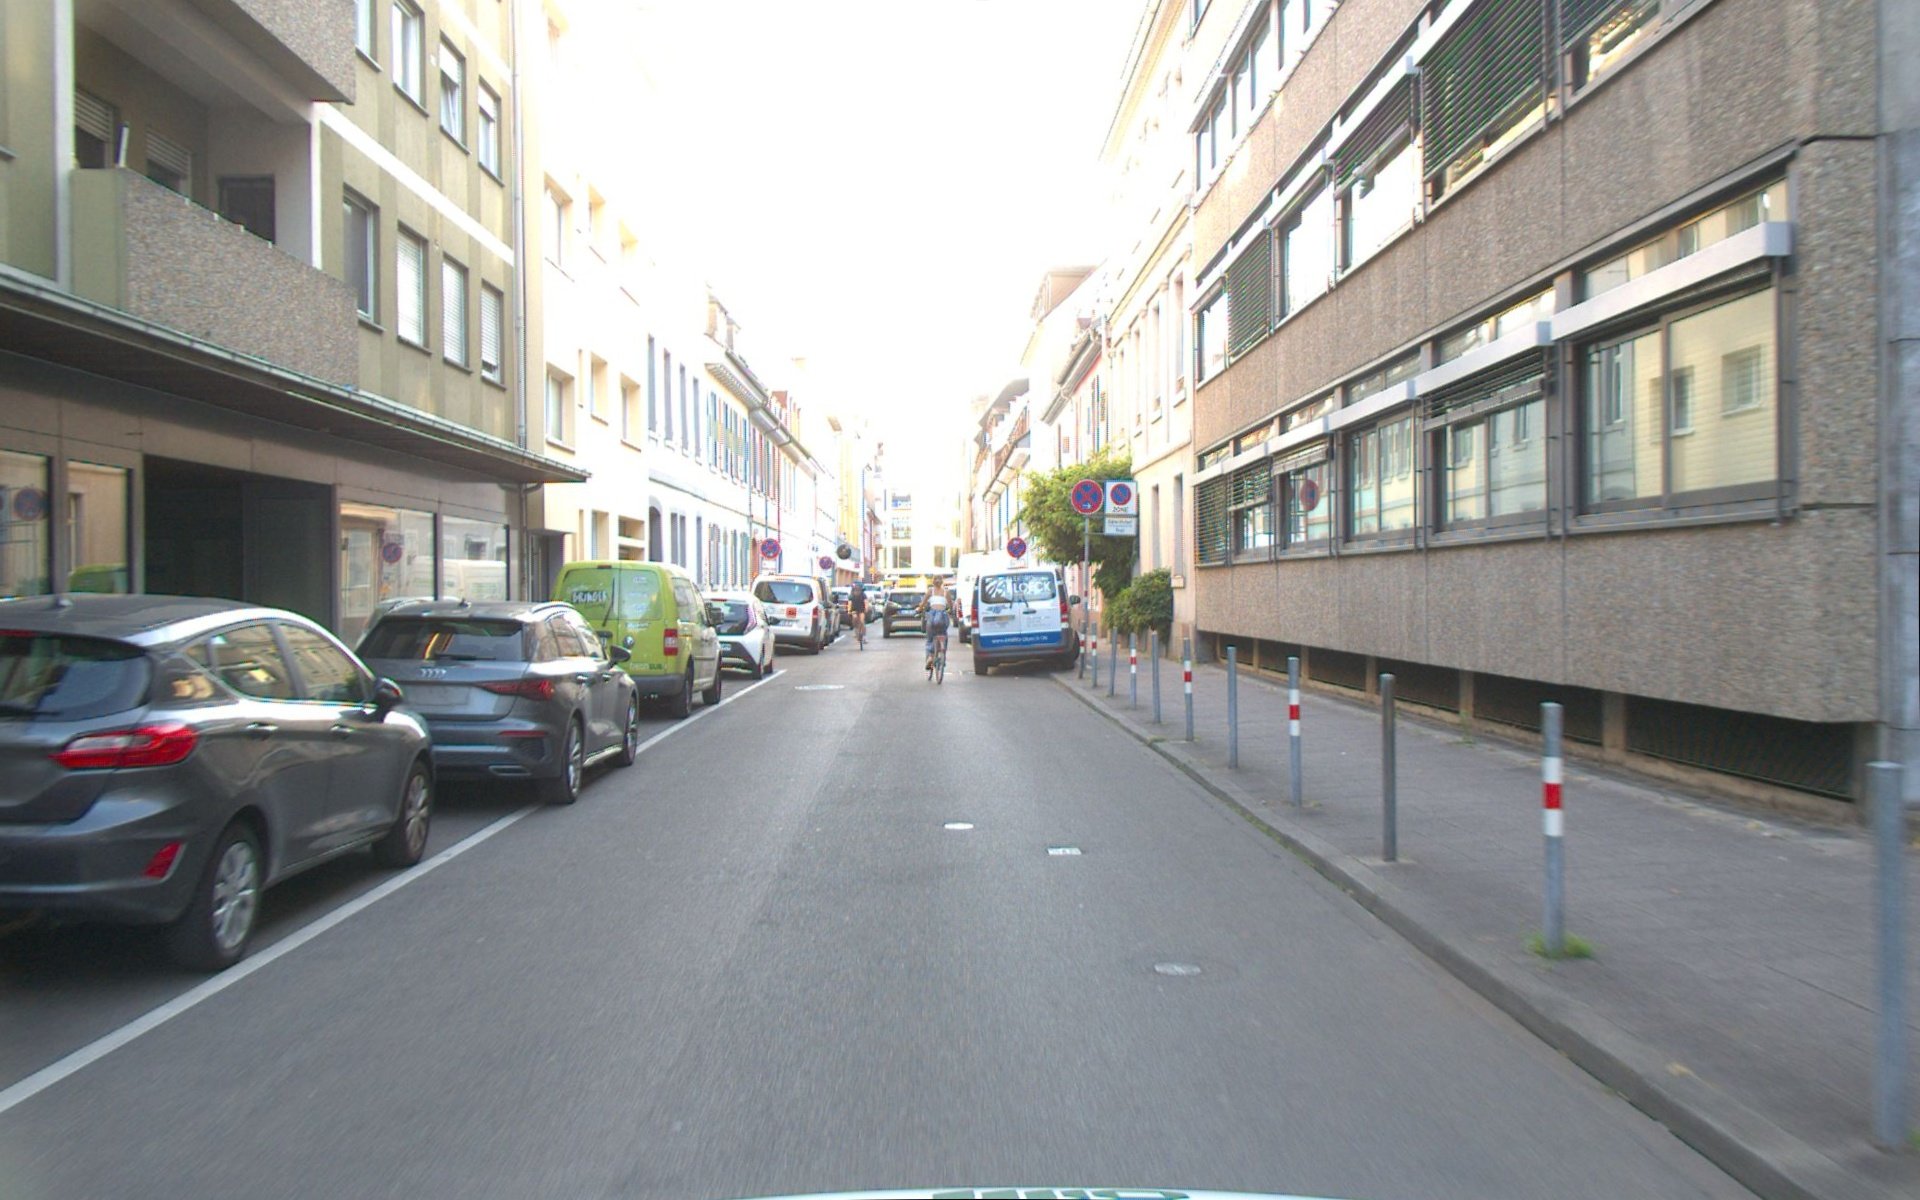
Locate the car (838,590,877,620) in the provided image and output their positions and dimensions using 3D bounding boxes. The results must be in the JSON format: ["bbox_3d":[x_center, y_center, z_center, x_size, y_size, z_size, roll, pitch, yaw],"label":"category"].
[{"bbox_3d":[-5.227,0.254,84.552,1.879,1.459,4.291,1,0,-3],"label":"car"}]

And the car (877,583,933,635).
[{"bbox_3d":[-1.819,0.280,55.368,1.782,1.646,3.999,1,0,-1],"label":"car"}]

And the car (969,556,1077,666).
[{"bbox_3d":[1.211,0.179,32.073,1.896,1.931,5.278,-1,0,2],"label":"car"}]

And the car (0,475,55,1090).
[{"bbox_3d":[-3.664,0.554,2.966,1.737,1.843,4.508,0,0,-2],"label":"car"}]

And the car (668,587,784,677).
[{"bbox_3d":[-4.223,0.546,30.292,1.628,1.474,3.520,3,0,-1],"label":"car"}]

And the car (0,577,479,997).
[{"bbox_3d":[-3.652,0.679,7.921,1.591,1.511,3.877,-1,0,-1],"label":"car"}]

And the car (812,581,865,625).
[{"bbox_3d":[-4.903,0.118,67.179,1.766,1.706,4.490,-1,0,0],"label":"car"}]

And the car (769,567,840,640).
[{"bbox_3d":[-4.598,0.073,49.505,1.825,2.049,4.812,-1,0,-2],"label":"car"}]

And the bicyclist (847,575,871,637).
[{"bbox_3d":[-2.741,0.170,44.941,0.610,1.668,1.081,0,0,-1],"label":"bicyclist"}]

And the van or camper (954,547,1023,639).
[{"bbox_3d":[0.826,-0.238,51.891,2.008,2.683,7.062,-1,0,0],"label":"van or camper"}]

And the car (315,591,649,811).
[{"bbox_3d":[-3.518,0.663,12.894,1.591,1.440,3.979,0,0,-3],"label":"car"}]

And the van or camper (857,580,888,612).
[{"bbox_3d":[-5.663,-0.259,107.211,1.807,2.048,4.677,1,0,-1],"label":"van or camper"}]

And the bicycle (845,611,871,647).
[{"bbox_3d":[-2.769,0.771,44.910,0.621,0.938,1.779,0,0,-1],"label":"bicycle"}]

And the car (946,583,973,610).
[{"bbox_3d":[-0.057,-0.214,102.003,1.620,1.588,3.605,1,0,-1],"label":"car"}]

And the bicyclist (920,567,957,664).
[{"bbox_3d":[-0.359,0.257,27.515,0.608,1.602,0.683,0,0,0],"label":"bicyclist"}]

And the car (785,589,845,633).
[{"bbox_3d":[-4.929,0.349,56.597,1.729,1.426,4.262,0,0,-1],"label":"car"}]

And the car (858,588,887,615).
[{"bbox_3d":[-5.337,0.067,101.371,1.620,1.588,3.605,1,0,-1],"label":"car"}]

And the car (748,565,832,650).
[{"bbox_3d":[-4.369,0.160,43.155,1.825,2.049,5.104,-1,0,-2],"label":"car"}]

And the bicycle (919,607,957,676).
[{"bbox_3d":[-0.356,0.671,27.490,0.601,1.101,1.809,0,0,0],"label":"bicycle"}]

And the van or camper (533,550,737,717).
[{"bbox_3d":[-3.983,0.369,20.936,1.736,1.880,4.178,-1,0,0],"label":"van or camper"}]
